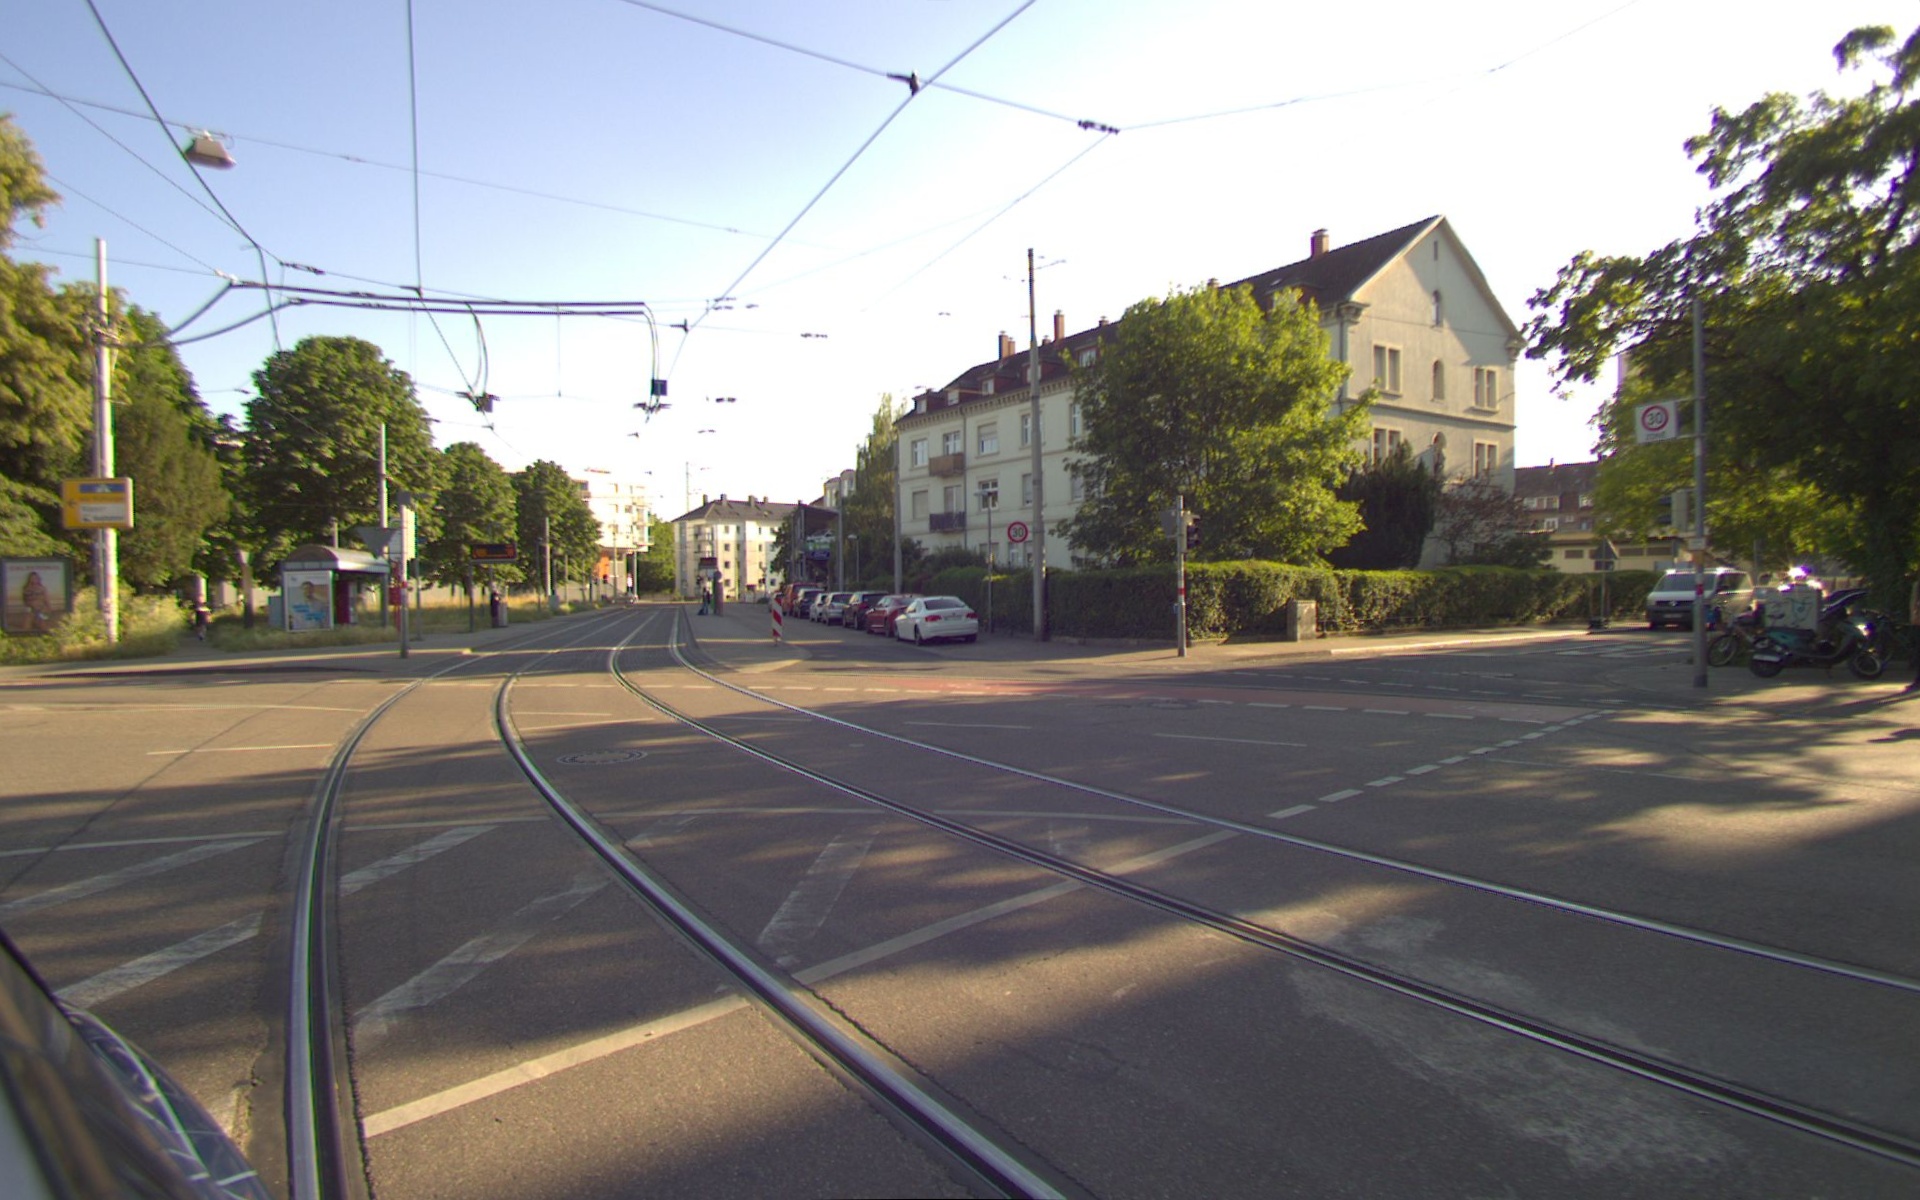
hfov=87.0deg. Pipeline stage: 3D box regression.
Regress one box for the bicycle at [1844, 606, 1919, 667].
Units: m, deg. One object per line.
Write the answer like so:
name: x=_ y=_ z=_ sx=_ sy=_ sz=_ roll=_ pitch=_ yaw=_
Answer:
bicycle: x=15.134 y=0.568 z=15.943 sx=0.553 sy=0.939 sz=1.733 roll=-1 pitch=1 yaw=-35

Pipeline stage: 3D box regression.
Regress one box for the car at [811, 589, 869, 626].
car: x=-5.450 y=0.299 z=45.522 sx=1.953 sy=1.458 sz=3.730 roll=-3 pitch=1 yaw=-16

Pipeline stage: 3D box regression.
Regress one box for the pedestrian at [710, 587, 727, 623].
pedestrian: x=-13.805 y=0.264 z=57.917 sx=0.909 sy=2.029 sz=0.770 roll=-1 pitch=0 yaw=-10

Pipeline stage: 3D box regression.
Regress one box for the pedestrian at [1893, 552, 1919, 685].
pedestrian: x=13.082 y=0.240 z=13.418 sx=0.782 sy=1.763 sz=0.694 roll=-1 pitch=1 yaw=-7

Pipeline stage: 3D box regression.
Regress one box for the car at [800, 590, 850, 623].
car: x=-6.701 y=0.288 z=49.983 sx=1.814 sy=1.458 sz=3.970 roll=-3 pitch=1 yaw=-16

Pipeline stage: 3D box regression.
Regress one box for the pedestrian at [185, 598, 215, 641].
pedestrian: x=-26.978 y=0.673 z=35.923 sx=0.850 sy=1.503 sz=0.662 roll=-1 pitch=0 yaw=41

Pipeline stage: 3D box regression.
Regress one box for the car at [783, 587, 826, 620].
car: x=-8.848 y=0.158 z=57.460 sx=1.814 sy=1.680 sz=4.383 roll=-3 pitch=1 yaw=-16

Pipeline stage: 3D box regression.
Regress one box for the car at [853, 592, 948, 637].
car: x=-2.178 y=0.450 z=35.381 sx=1.953 sy=1.386 sz=4.721 roll=-3 pitch=2 yaw=-20

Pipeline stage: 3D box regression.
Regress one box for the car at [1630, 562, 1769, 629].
car: x=24.371 y=-0.177 z=33.286 sx=5.224 sy=2.029 sz=2.367 roll=-1 pitch=1 yaw=-38

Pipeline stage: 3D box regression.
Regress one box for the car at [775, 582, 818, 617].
car: x=-10.364 y=-0.071 z=63.754 sx=2.022 sy=1.976 sz=5.166 roll=-3 pitch=1 yaw=-16

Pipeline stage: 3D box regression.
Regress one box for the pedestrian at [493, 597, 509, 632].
pedestrian: x=-19.091 y=0.578 z=42.070 sx=0.587 sy=1.437 sz=0.507 roll=-1 pitch=0 yaw=-23

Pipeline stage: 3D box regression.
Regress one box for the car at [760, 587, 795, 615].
car: x=-14.036 y=0.027 z=77.649 sx=2.022 sy=1.976 sz=5.166 roll=-3 pitch=1 yaw=-16

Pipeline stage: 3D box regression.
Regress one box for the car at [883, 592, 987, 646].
car: x=-0.845 y=0.496 z=30.328 sx=1.898 sy=1.386 sz=4.511 roll=-3 pitch=1 yaw=-17

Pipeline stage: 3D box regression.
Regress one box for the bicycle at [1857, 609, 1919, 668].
bicycle: x=15.744 y=0.627 z=16.389 sx=0.553 sy=0.939 sz=1.733 roll=-1 pitch=1 yaw=-35

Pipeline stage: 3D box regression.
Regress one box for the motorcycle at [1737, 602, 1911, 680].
motorcycle: x=13.442 y=0.600 z=15.788 sx=0.824 sy=1.118 sz=1.961 roll=-1 pitch=0 yaw=-40

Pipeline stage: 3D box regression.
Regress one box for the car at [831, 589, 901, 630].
car: x=-3.898 y=0.331 z=41.189 sx=1.953 sy=1.458 sz=4.719 roll=-3 pitch=1 yaw=-16

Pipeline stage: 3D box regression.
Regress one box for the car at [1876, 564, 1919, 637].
car: x=27.863 y=0.037 z=26.343 sx=2.324 sy=1.938 sz=5.650 roll=1 pitch=-1 yaw=-38

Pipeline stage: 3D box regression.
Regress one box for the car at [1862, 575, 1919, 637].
car: x=25.789 y=0.171 z=24.863 sx=2.324 sy=1.569 sz=5.117 roll=1 pitch=-1 yaw=-38

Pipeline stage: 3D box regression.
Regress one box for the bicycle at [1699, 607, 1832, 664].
bicycle: x=14.298 y=0.602 z=18.009 sx=0.661 sy=0.939 sz=1.733 roll=-1 pitch=1 yaw=-35

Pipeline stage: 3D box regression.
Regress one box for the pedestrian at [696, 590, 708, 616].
pedestrian: x=-15.296 y=0.158 z=60.004 sx=0.560 sy=1.512 sz=0.679 roll=-1 pitch=0 yaw=-3
